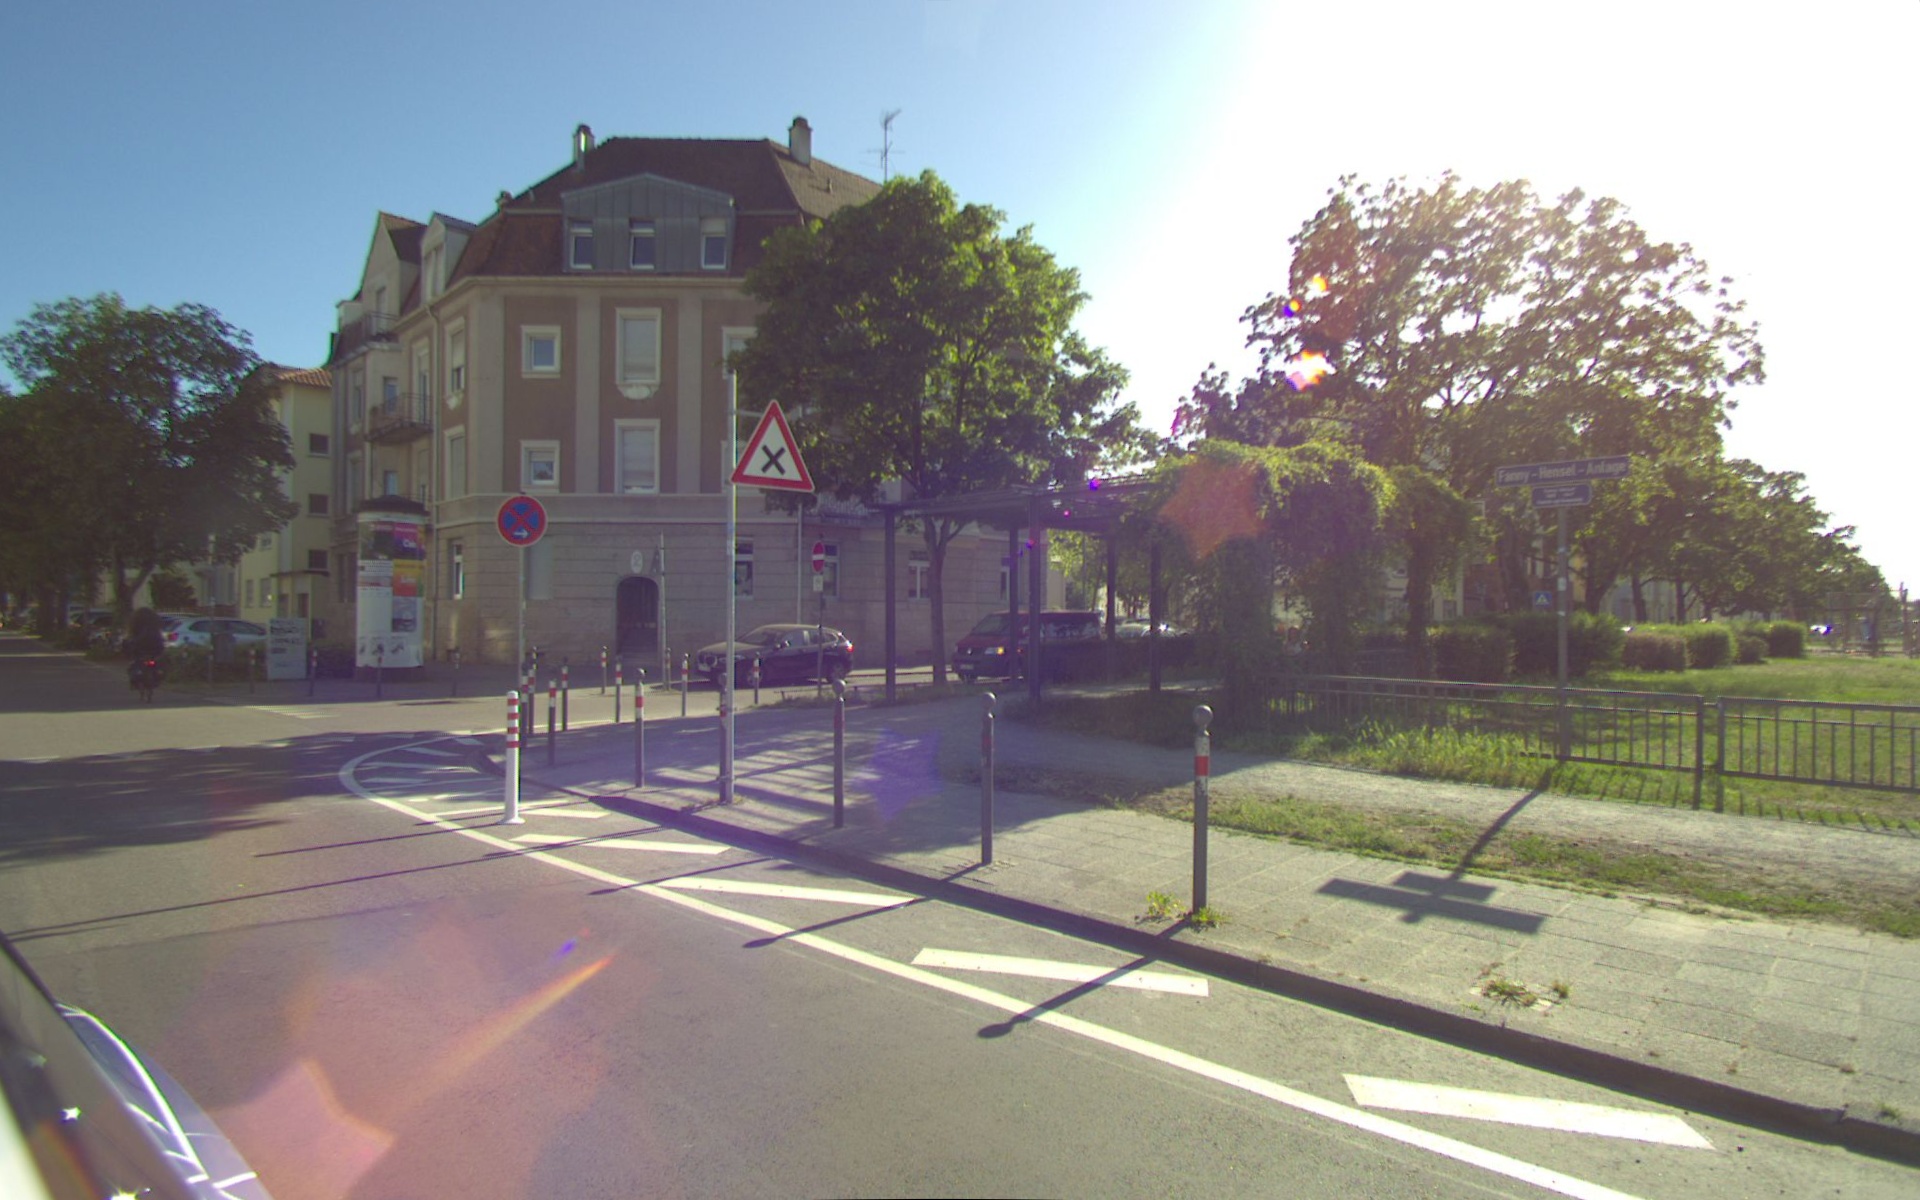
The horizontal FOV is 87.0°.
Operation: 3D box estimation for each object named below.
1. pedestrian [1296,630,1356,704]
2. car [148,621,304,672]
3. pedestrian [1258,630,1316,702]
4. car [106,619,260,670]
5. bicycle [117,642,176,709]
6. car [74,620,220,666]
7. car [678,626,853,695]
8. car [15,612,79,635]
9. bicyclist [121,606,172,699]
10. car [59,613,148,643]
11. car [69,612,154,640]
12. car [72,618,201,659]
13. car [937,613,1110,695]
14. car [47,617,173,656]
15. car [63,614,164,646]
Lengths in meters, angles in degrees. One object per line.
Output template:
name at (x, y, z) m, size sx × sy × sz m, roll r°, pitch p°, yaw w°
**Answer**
pedestrian at (5.898, 1.066, 16.297) m, size 0.862 × 1.147 × 0.599 m, roll 2°, pitch -2°, yaw -44°
car at (-23.082, 1.406, 31.912) m, size 1.692 × 1.455 × 3.739 m, roll -1°, pitch -1°, yaw 42°
pedestrian at (5.433, 1.079, 16.795) m, size 0.833 × 1.158 × 0.599 m, roll 2°, pitch -2°, yaw -44°
car at (-25.187, 1.408, 32.879) m, size 1.692 × 1.506 × 3.739 m, roll -1°, pitch -1°, yaw 42°
bicycle at (-14.798, 1.342, 18.398) m, size 0.635 × 1.117 × 2.067 m, roll 2°, pitch -2°, yaw -44°
car at (-29.081, 1.509, 36.305) m, size 1.686 × 1.506 × 3.751 m, roll -1°, pitch -1°, yaw 31°
car at (-4.802, 1.446, 25.334) m, size 1.868 × 1.494 × 3.959 m, roll 3°, pitch 1°, yaw 41°
car at (-69.642, 1.757, 77.204) m, size 1.692 × 1.716 × 3.481 m, roll -1°, pitch -1°, yaw 43°
bicyclist at (-14.794, 0.941, 18.404) m, size 0.635 × 1.632 × 0.637 m, roll 2°, pitch -2°, yaw -44°
car at (-46.370, 1.491, 54.837) m, size 1.691 × 1.506 × 3.484 m, roll -1°, pitch -1°, yaw 39°
car at (-47.954, 1.470, 57.244) m, size 1.691 × 1.506 × 3.484 m, roll -1°, pitch -1°, yaw 39°
car at (-33.235, 1.525, 40.931) m, size 1.686 × 1.506 × 3.751 m, roll -1°, pitch -1°, yaw 31°
car at (1.807, 1.385, 27.271) m, size 4.814 × 1.975 × 1.898 m, roll 2°, pitch -1°, yaw -45°
car at (-35.726, 1.509, 42.638) m, size 1.686 × 1.506 × 3.751 m, roll -1°, pitch -1°, yaw 31°
car at (-43.180, 1.500, 51.684) m, size 1.691 × 1.506 × 3.741 m, roll -1°, pitch -1°, yaw 39°
